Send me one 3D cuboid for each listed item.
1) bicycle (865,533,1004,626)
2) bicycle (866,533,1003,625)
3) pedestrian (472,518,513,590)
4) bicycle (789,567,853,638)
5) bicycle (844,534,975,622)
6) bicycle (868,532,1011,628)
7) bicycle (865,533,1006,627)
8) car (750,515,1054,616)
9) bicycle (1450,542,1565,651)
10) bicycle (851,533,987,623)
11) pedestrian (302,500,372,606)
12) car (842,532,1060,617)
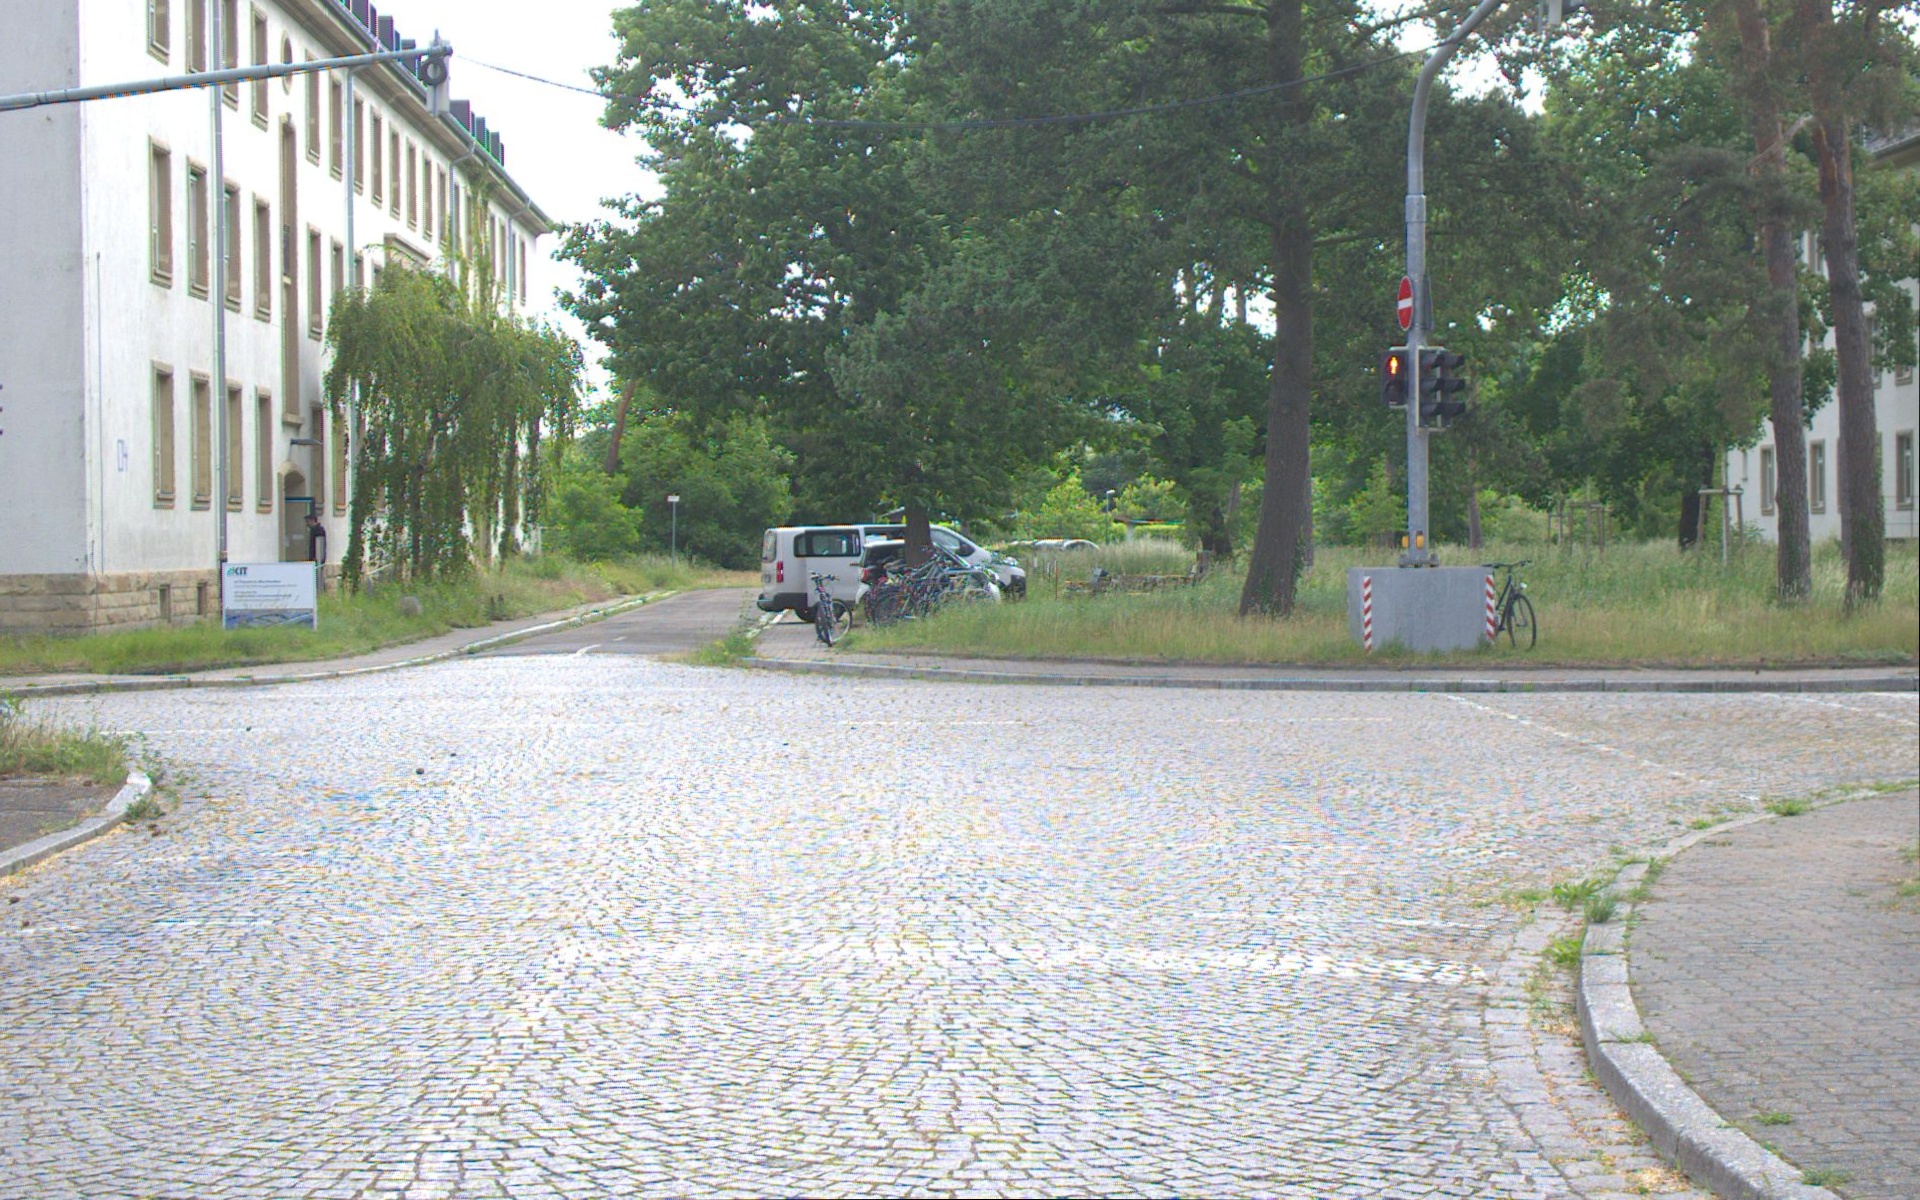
[{"bbox_3d":[-0.379,-0.313,51.672,2.070,1.373,0.620,0,1,0],"label":"bicycle"},{"bbox_3d":[-0.389,-0.322,52.469,2.070,1.373,0.620,0,1,0],"label":"bicycle"},{"bbox_3d":[-13.267,-1.310,97.589,0.959,2.007,0.795,0,1,9],"label":"pedestrian"},{"bbox_3d":[-1.956,0.023,48.567,0.618,0.960,2.076,0,1,6],"label":"bicycle"},{"bbox_3d":[-0.805,-0.358,54.748,2.070,1.373,0.620,0,1,0],"label":"bicycle"},{"bbox_3d":[-0.302,-0.296,50.377,2.070,1.373,0.620,0,1,0],"label":"bicycle"},{"bbox_3d":[-0.361,-0.305,51.047,2.070,1.373,0.620,0,1,0],"label":"bicycle"},{"bbox_3d":[-1.172,-0.699,68.257,5.690,1.904,2.231,-1,1,-13],"label":"car"},{"bbox_3d":[6.062,-0.053,38.176,0.908,1.173,1.874,-1,1,-2],"label":"bicycle"},{"bbox_3d":[-0.634,-0.339,53.265,2.070,1.373,0.620,0,1,0],"label":"bicycle"},{"bbox_3d":[-11.905,-0.895,65.744,1.087,2.007,1.021,0,1,4],"label":"pedestrian"},{"bbox_3d":[-0.201,-0.497,64.900,3.932,1.539,2.000,-1,1,-6],"label":"car"}]
